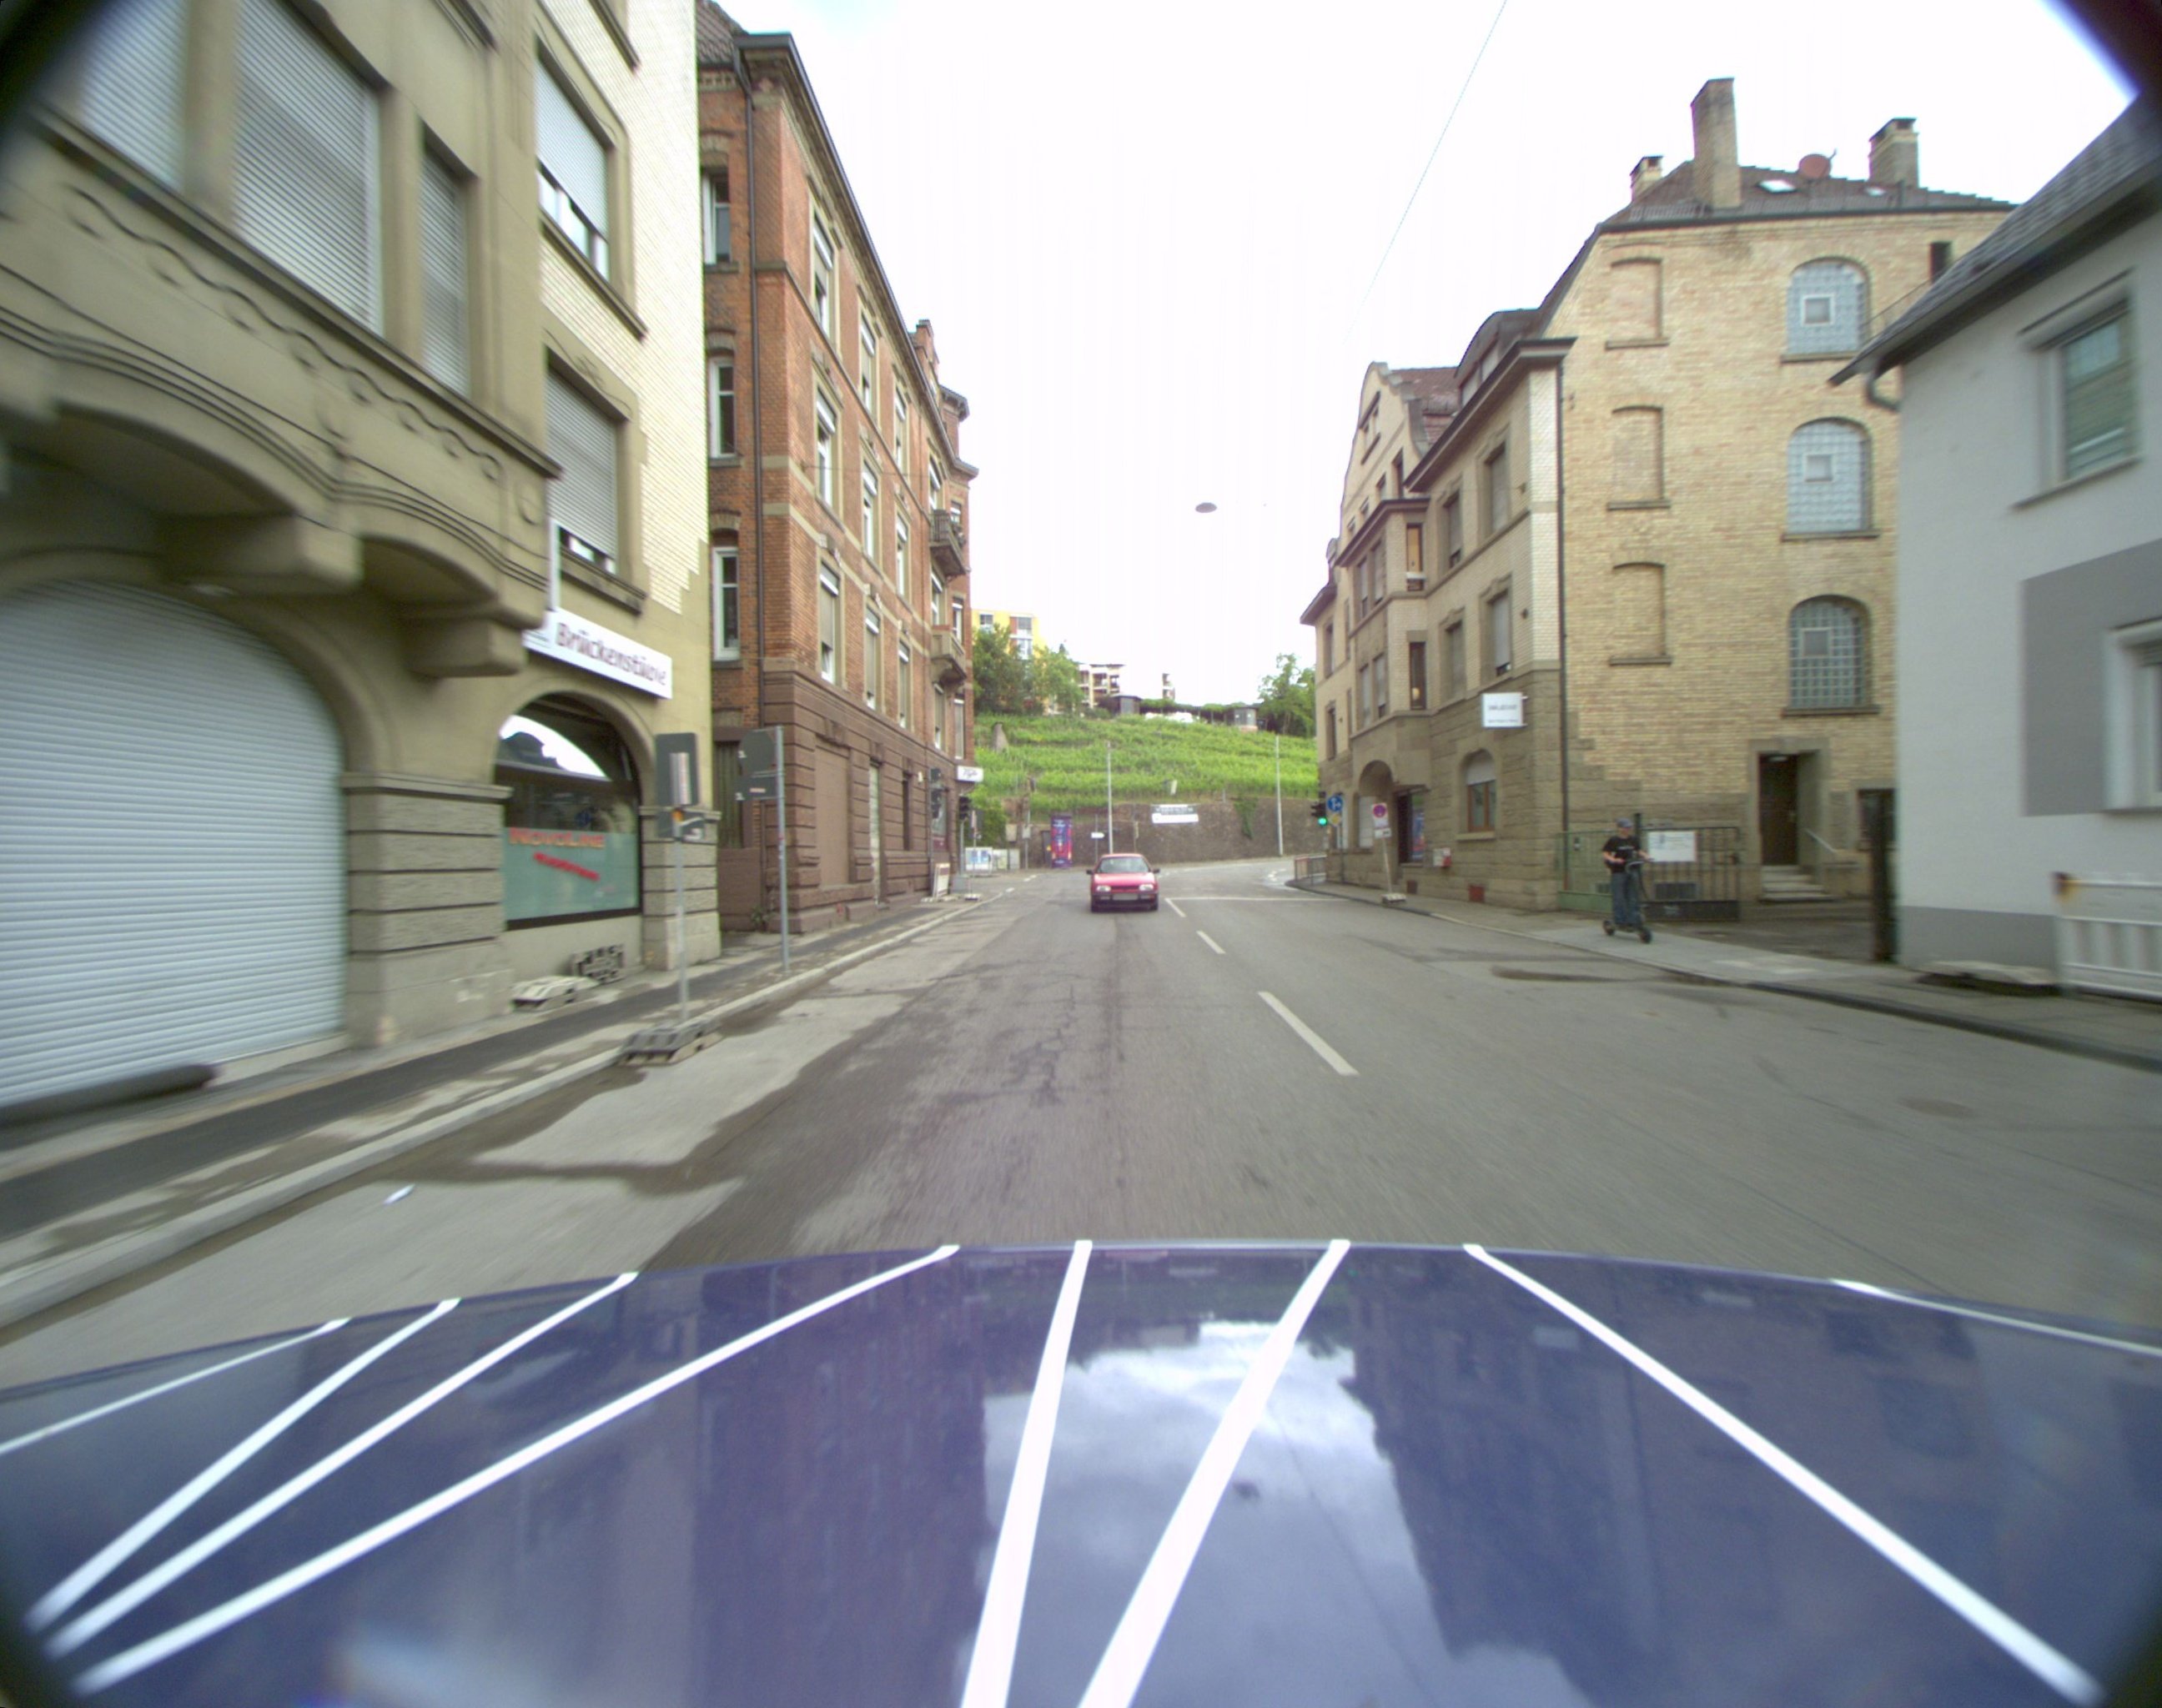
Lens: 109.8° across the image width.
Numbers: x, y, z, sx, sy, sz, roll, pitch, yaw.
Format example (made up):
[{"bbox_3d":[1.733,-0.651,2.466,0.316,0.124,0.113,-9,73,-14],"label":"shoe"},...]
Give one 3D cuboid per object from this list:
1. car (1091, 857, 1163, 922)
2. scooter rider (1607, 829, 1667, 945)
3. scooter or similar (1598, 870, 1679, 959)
[{"bbox_3d":[1.150,0.843,19.887,1.646,1.430,4.000,-3,0,2],"label":"car"},{"bbox_3d":[8.359,0.485,11.434,0.488,1.696,0.577,-2,2,5],"label":"scooter rider"},{"bbox_3d":[8.375,0.877,11.457,0.379,1.235,1.227,-2,1,5],"label":"scooter or similar"}]
